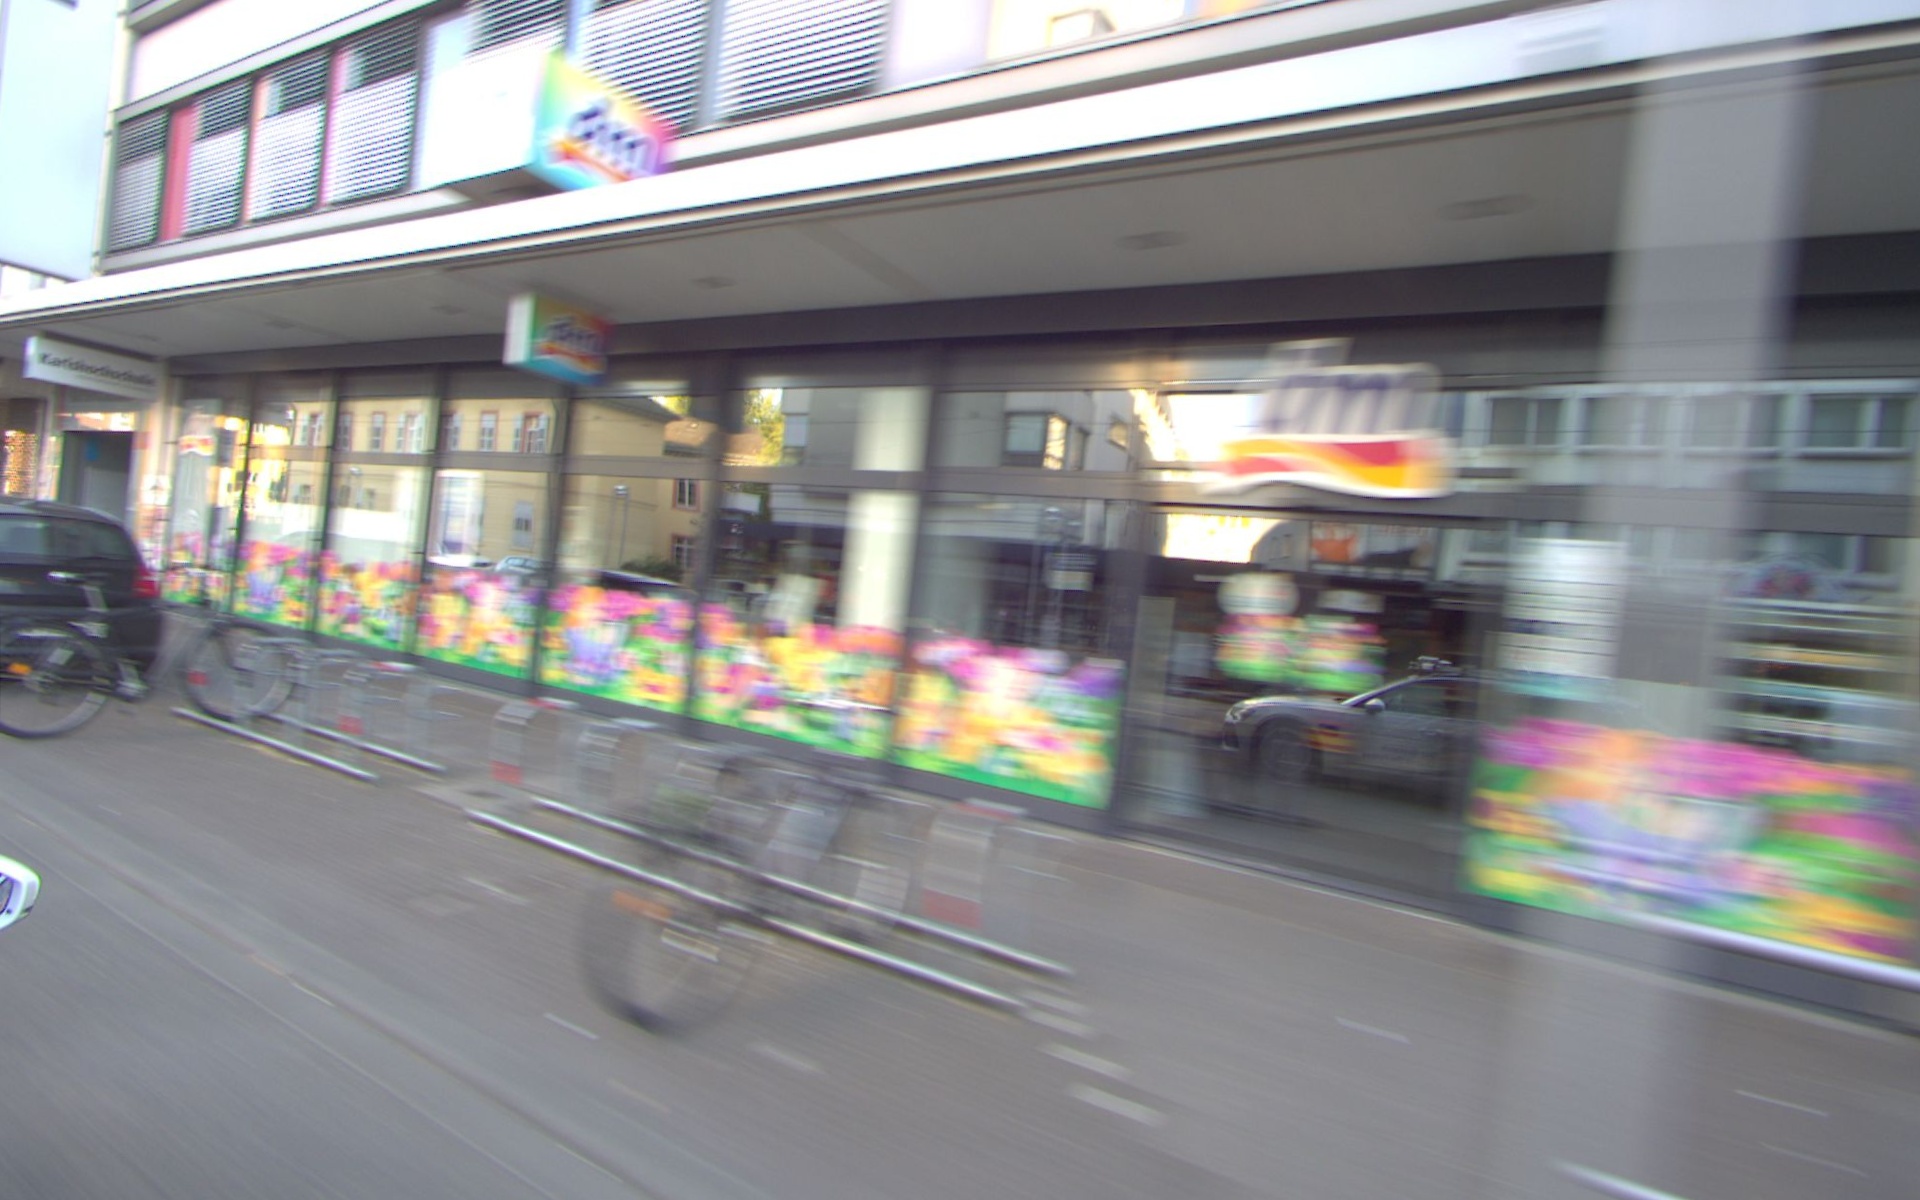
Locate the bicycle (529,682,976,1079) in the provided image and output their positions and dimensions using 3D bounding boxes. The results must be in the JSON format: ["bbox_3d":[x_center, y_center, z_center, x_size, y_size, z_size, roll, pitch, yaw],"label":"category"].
[{"bbox_3d":[-0.647,0.885,3.809,0.566,0.986,1.796,7,2,28],"label":"bicycle"}]

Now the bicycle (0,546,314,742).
[{"bbox_3d":[-5.510,0.265,6.764,0.631,1.124,1.841,6,2,28],"label":"bicycle"}]

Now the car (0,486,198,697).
[{"bbox_3d":[-8.376,-0.208,8.504,3.956,1.480,1.658,6,-2,32],"label":"car"}]
